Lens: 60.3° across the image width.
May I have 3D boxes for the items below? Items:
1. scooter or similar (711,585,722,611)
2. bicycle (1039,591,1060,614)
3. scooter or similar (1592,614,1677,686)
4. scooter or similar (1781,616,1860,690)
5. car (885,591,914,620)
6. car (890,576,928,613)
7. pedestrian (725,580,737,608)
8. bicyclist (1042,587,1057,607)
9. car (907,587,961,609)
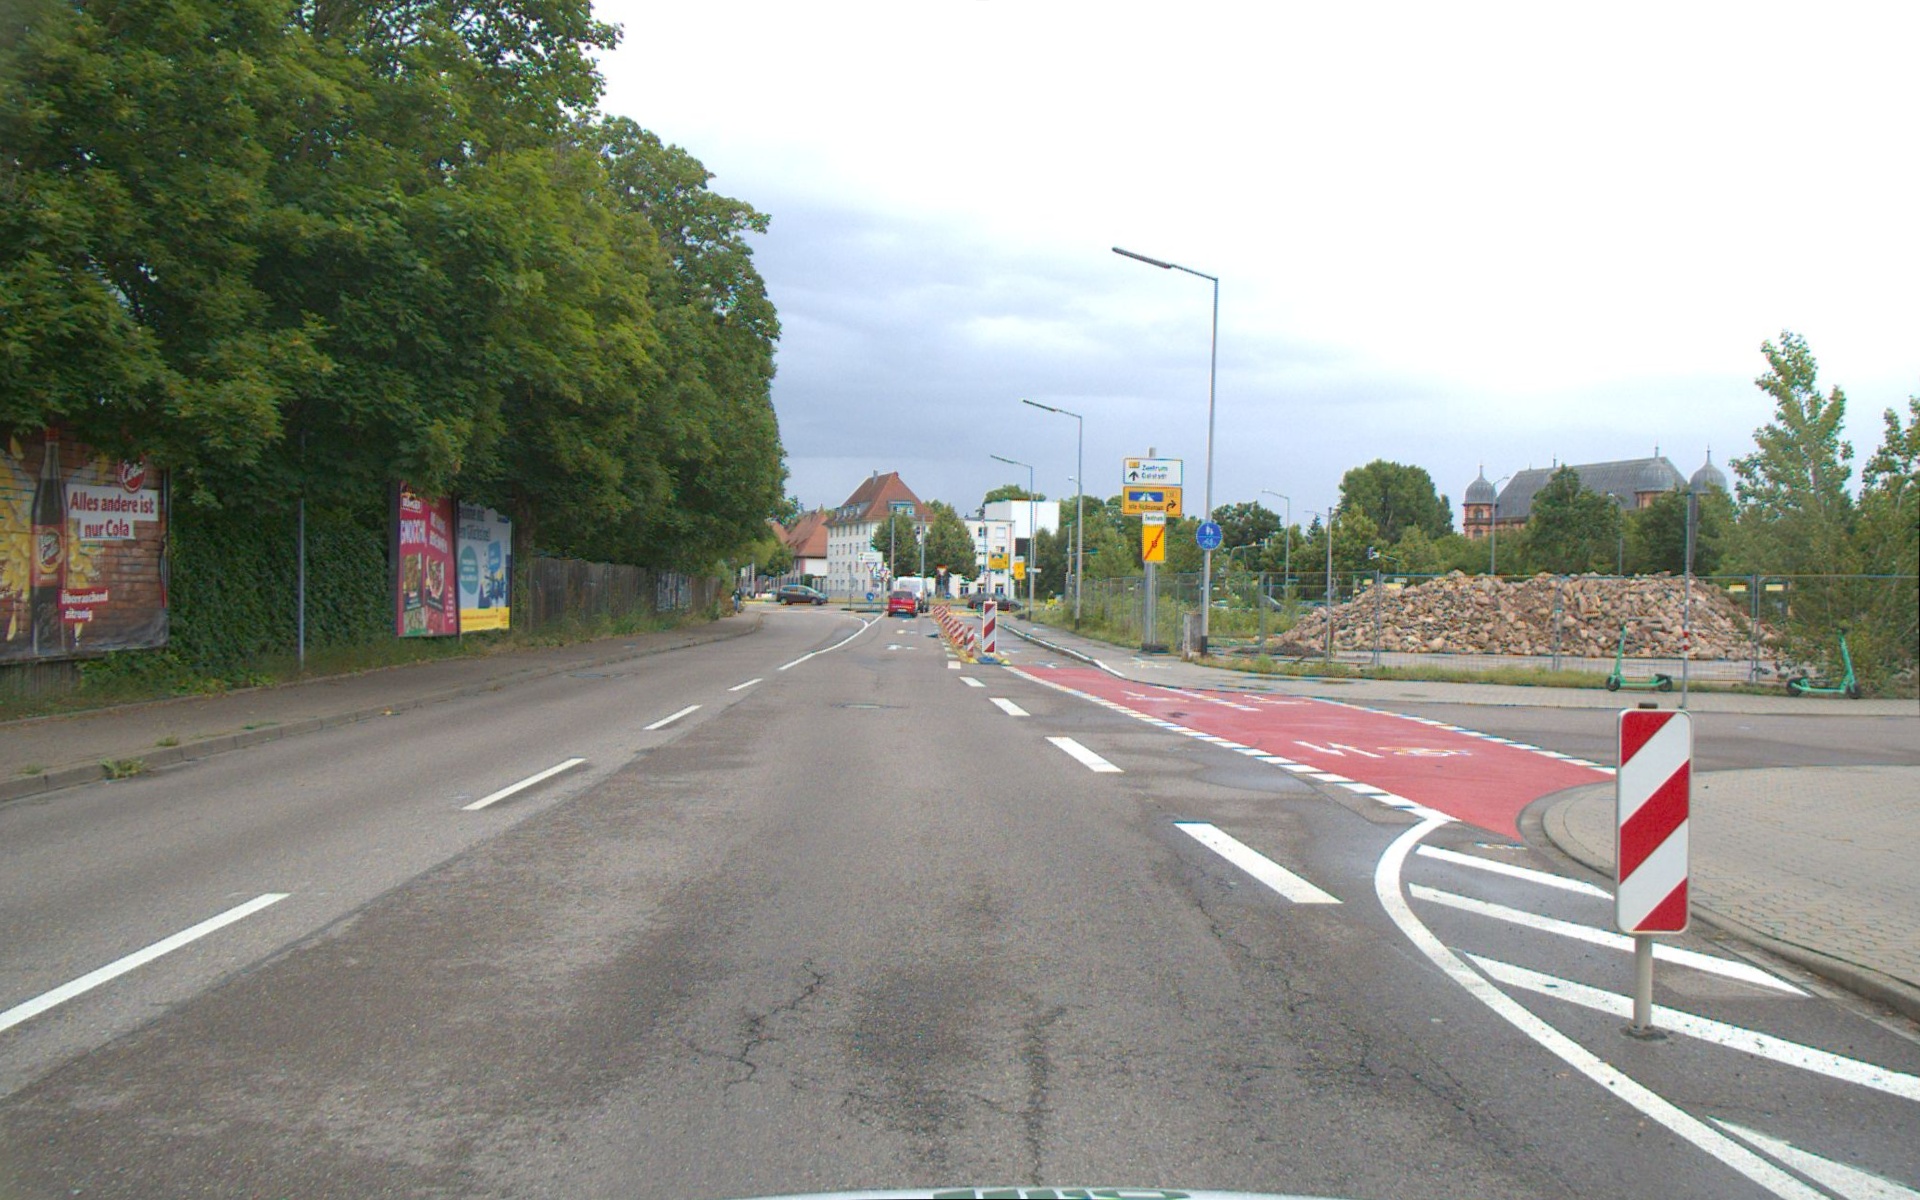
[{"bbox_3d":[-11.171,-0.108,75.885,0.414,1.191,1.302,1,0,-7],"label":"scooter or similar"},{"bbox_3d":[6.411,0.180,118.542,1.446,1.640,0.606,1,0,1],"label":"bicycle"},{"bbox_3d":[11.794,0.860,28.950,1.301,1.206,0.444,1,0,39],"label":"scooter or similar"},{"bbox_3d":[14.532,0.880,27.960,1.146,1.206,0.446,1,0,24],"label":"scooter or similar"},{"bbox_3d":[-3.594,0.305,98.925,1.639,1.669,3.626,2,0,-1],"label":"car"},{"bbox_3d":[-3.752,-0.418,122.554,2.149,2.584,4.965,2,0,4],"label":"car"},{"bbox_3d":[-13.087,-0.335,94.553,0.600,1.556,0.723,1,0,-6],"label":"pedestrian"},{"bbox_3d":[6.421,-0.241,118.540,1.040,1.426,0.615,1,0,1],"label":"bicyclist"},{"bbox_3d":[-2.274,-0.202,145.151,4.525,1.826,2.104,1,1,41],"label":"car"}]
